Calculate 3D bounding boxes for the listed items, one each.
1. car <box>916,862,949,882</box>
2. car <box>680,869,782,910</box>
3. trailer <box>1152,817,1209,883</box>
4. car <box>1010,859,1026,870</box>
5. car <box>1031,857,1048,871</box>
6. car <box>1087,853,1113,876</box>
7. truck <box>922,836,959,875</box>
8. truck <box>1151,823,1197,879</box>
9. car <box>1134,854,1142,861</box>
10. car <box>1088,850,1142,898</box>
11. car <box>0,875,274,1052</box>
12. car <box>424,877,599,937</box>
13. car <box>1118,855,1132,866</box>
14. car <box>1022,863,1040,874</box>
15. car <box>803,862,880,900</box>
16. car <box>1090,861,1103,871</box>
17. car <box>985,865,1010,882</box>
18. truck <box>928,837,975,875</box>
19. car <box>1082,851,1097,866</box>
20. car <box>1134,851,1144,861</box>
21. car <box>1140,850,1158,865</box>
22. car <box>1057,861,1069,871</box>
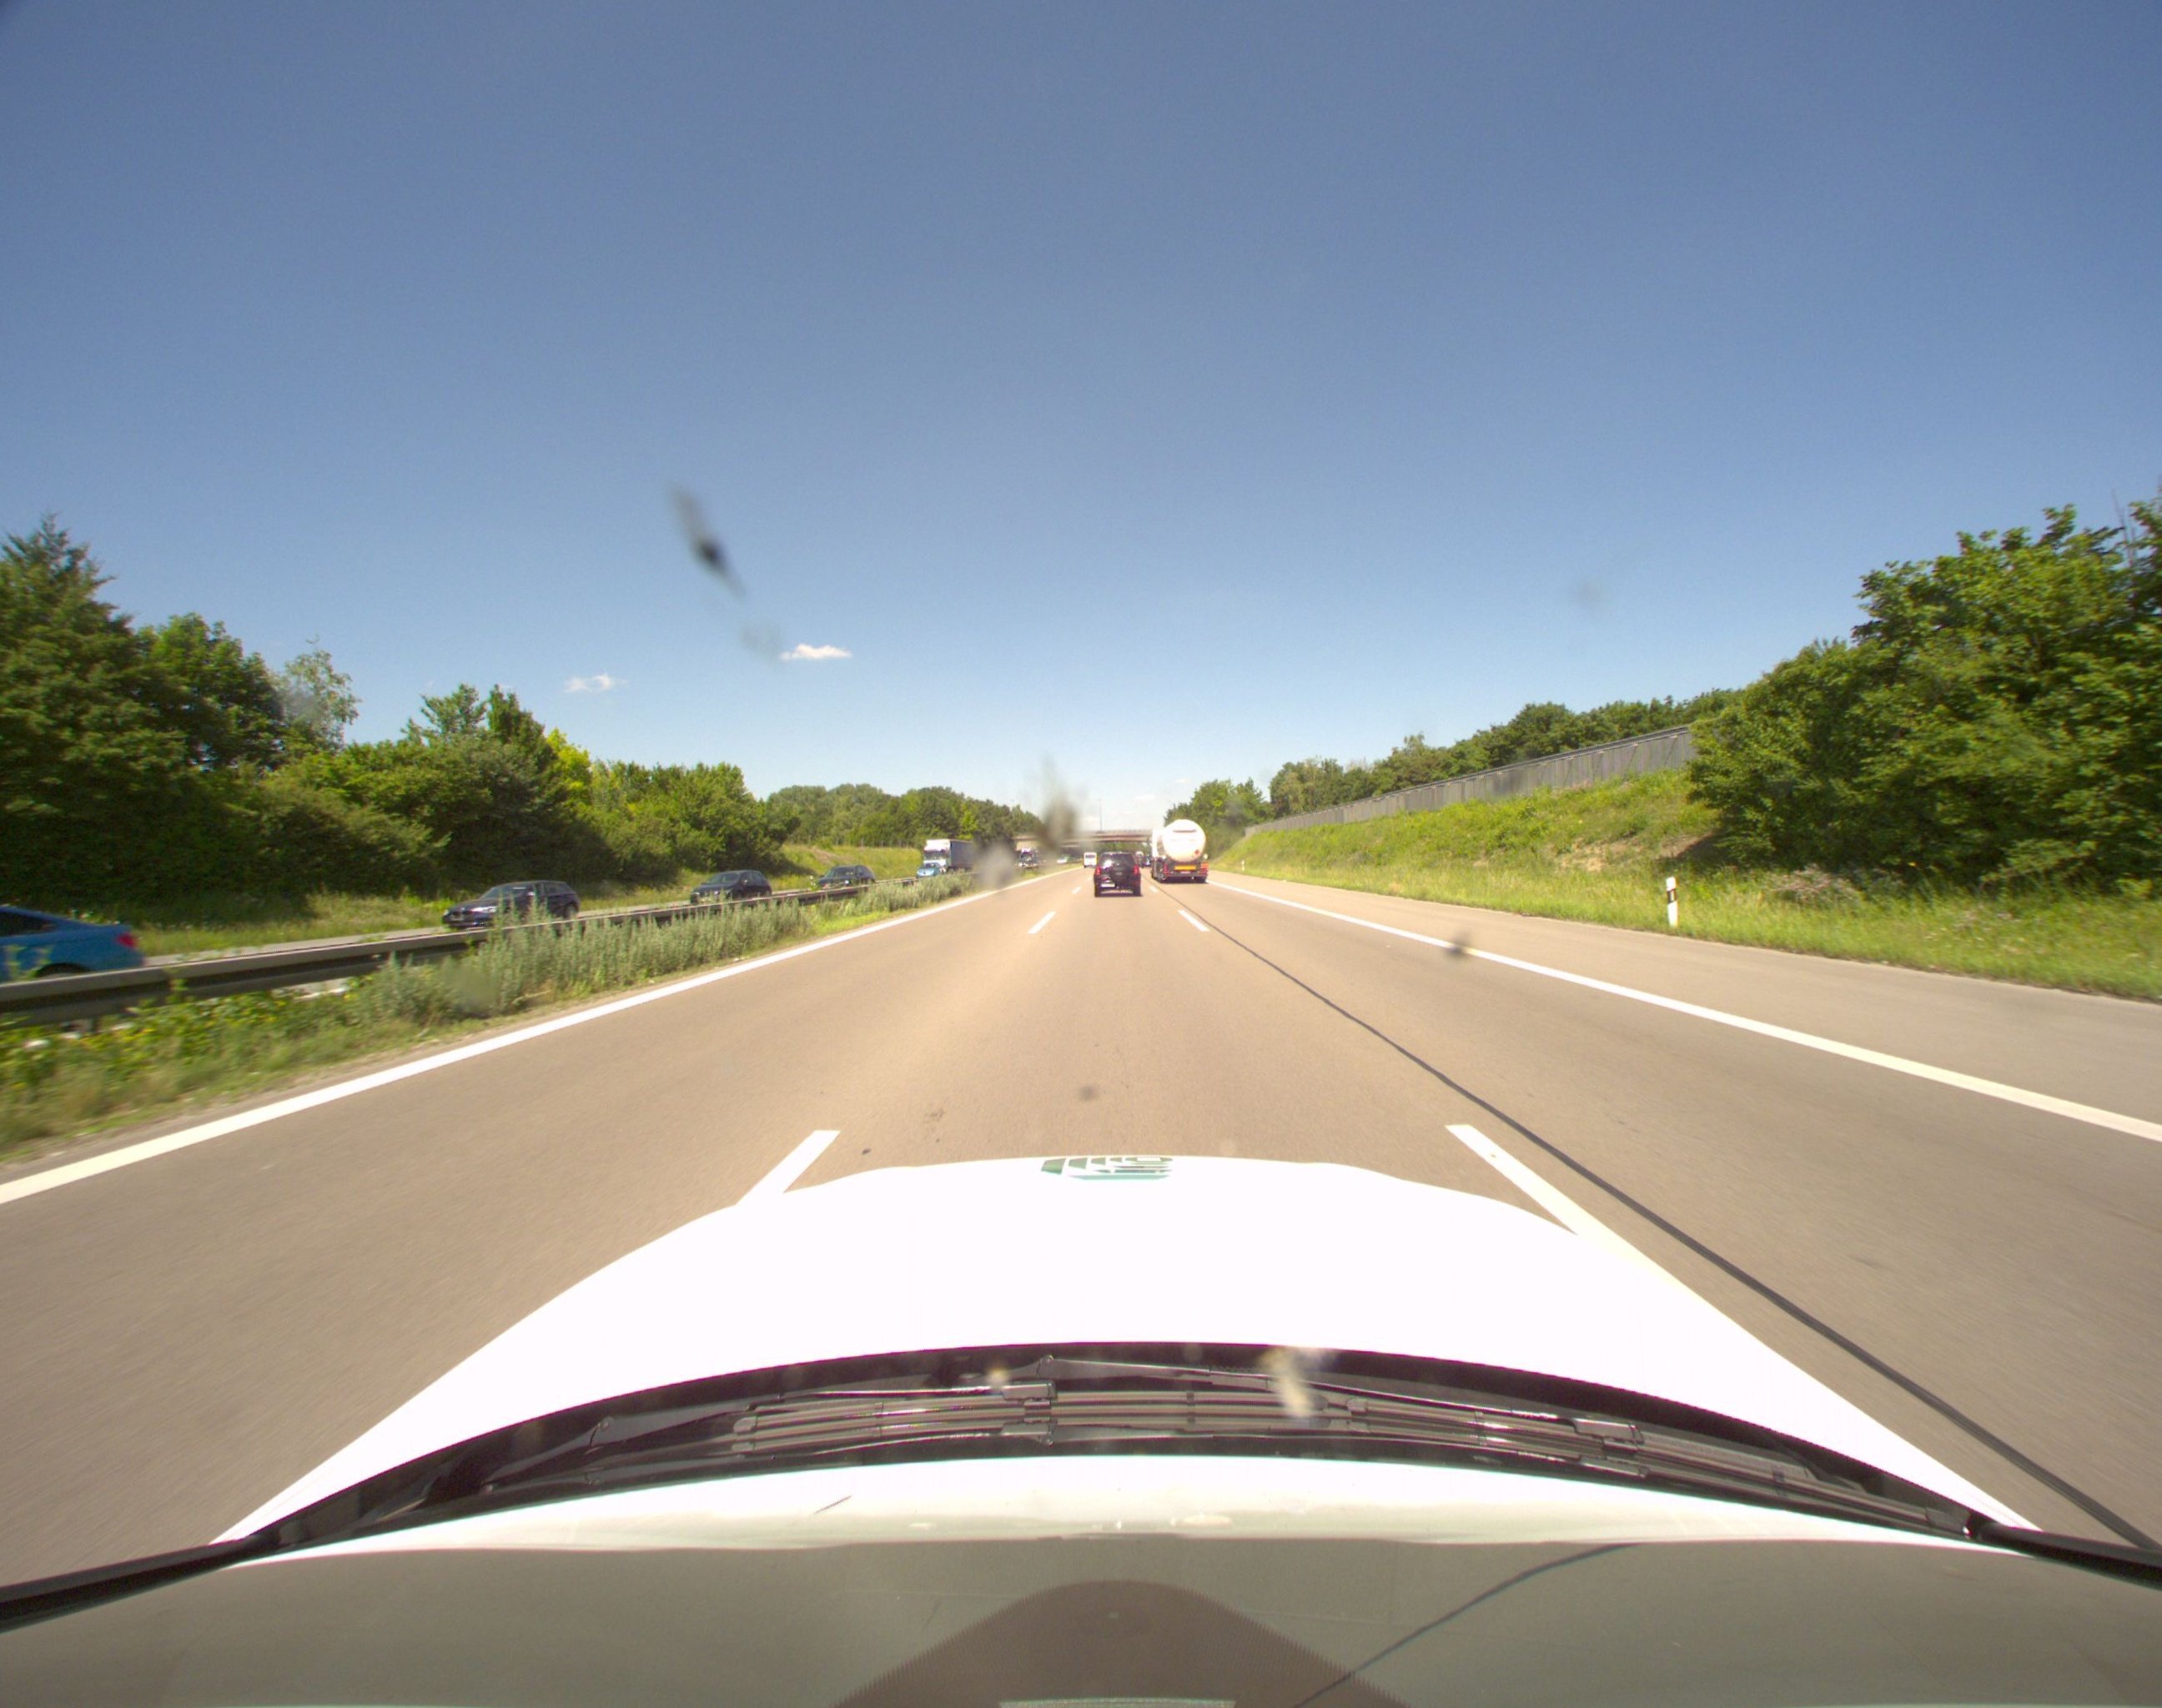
[{"bbox_3d":[-12.255,1.447,67.646,1.788,1.510,4.351,-2,0,1],"label":"car"},{"bbox_3d":[-14.089,1.388,33.111,1.888,1.339,4.765,-4,0,1],"label":"car"},{"bbox_3d":[5.636,-0.170,47.736,2.636,3.390,11.163,-1,0,4],"label":"trailer"},{"bbox_3d":[-10.277,1.719,132.955,1.956,1.641,4.898,-2,0,2],"label":"car"},{"bbox_3d":[-6.238,1.453,123.321,2.081,1.945,5.692,-2,0,2],"label":"car"},{"bbox_3d":[1.526,0.862,65.467,1.986,1.706,4.336,-2,-1,1],"label":"car"},{"bbox_3d":[-15.625,0.212,90.845,2.662,4.078,6.079,-4,0,2],"label":"truck"},{"bbox_3d":[5.993,-0.165,53.301,2.627,3.375,6.493,-1,0,3],"label":"truck"},{"bbox_3d":[15.810,0.968,226.118,1.805,1.746,4.002,-2,0,2],"label":"car"},{"bbox_3d":[1.326,0.747,31.631,1.899,1.665,4.002,-2,-1,2],"label":"car"},{"bbox_3d":[-10.870,1.068,7.478,1.826,1.565,4.959,-2,0,2],"label":"car"},{"bbox_3d":[-17.694,1.576,25.682,1.888,1.438,4.925,-4,0,1],"label":"car"},{"bbox_3d":[6.704,0.968,123.797,1.834,1.611,4.004,-2,-1,4],"label":"car"},{"bbox_3d":[-6.923,1.988,113.016,1.867,1.439,5.021,-2,0,2],"label":"car"},{"bbox_3d":[-10.802,1.172,37.140,1.888,1.427,4.765,-4,0,1],"label":"car"},{"bbox_3d":[2.501,2.012,132.408,1.986,1.552,4.002,-2,-1,2],"label":"car"},{"bbox_3d":[-8.291,1.917,81.369,1.852,1.600,4.722,-2,0,1],"label":"car"},{"bbox_3d":[-15.317,0.273,97.566,2.662,4.078,13.966,-4,0,2],"label":"truck"},{"bbox_3d":[1.194,0.652,112.124,1.986,2.014,4.951,-2,-1,2],"label":"car"},{"bbox_3d":[11.303,0.346,158.886,1.985,1.779,4.265,-2,0,4],"label":"car"},{"bbox_3d":[8.246,0.403,98.985,1.985,1.684,4.003,-2,-1,3],"label":"car"},{"bbox_3d":[-3.524,2.370,160.816,1.985,2.014,4.917,-2,-1,3],"label":"car"}]
